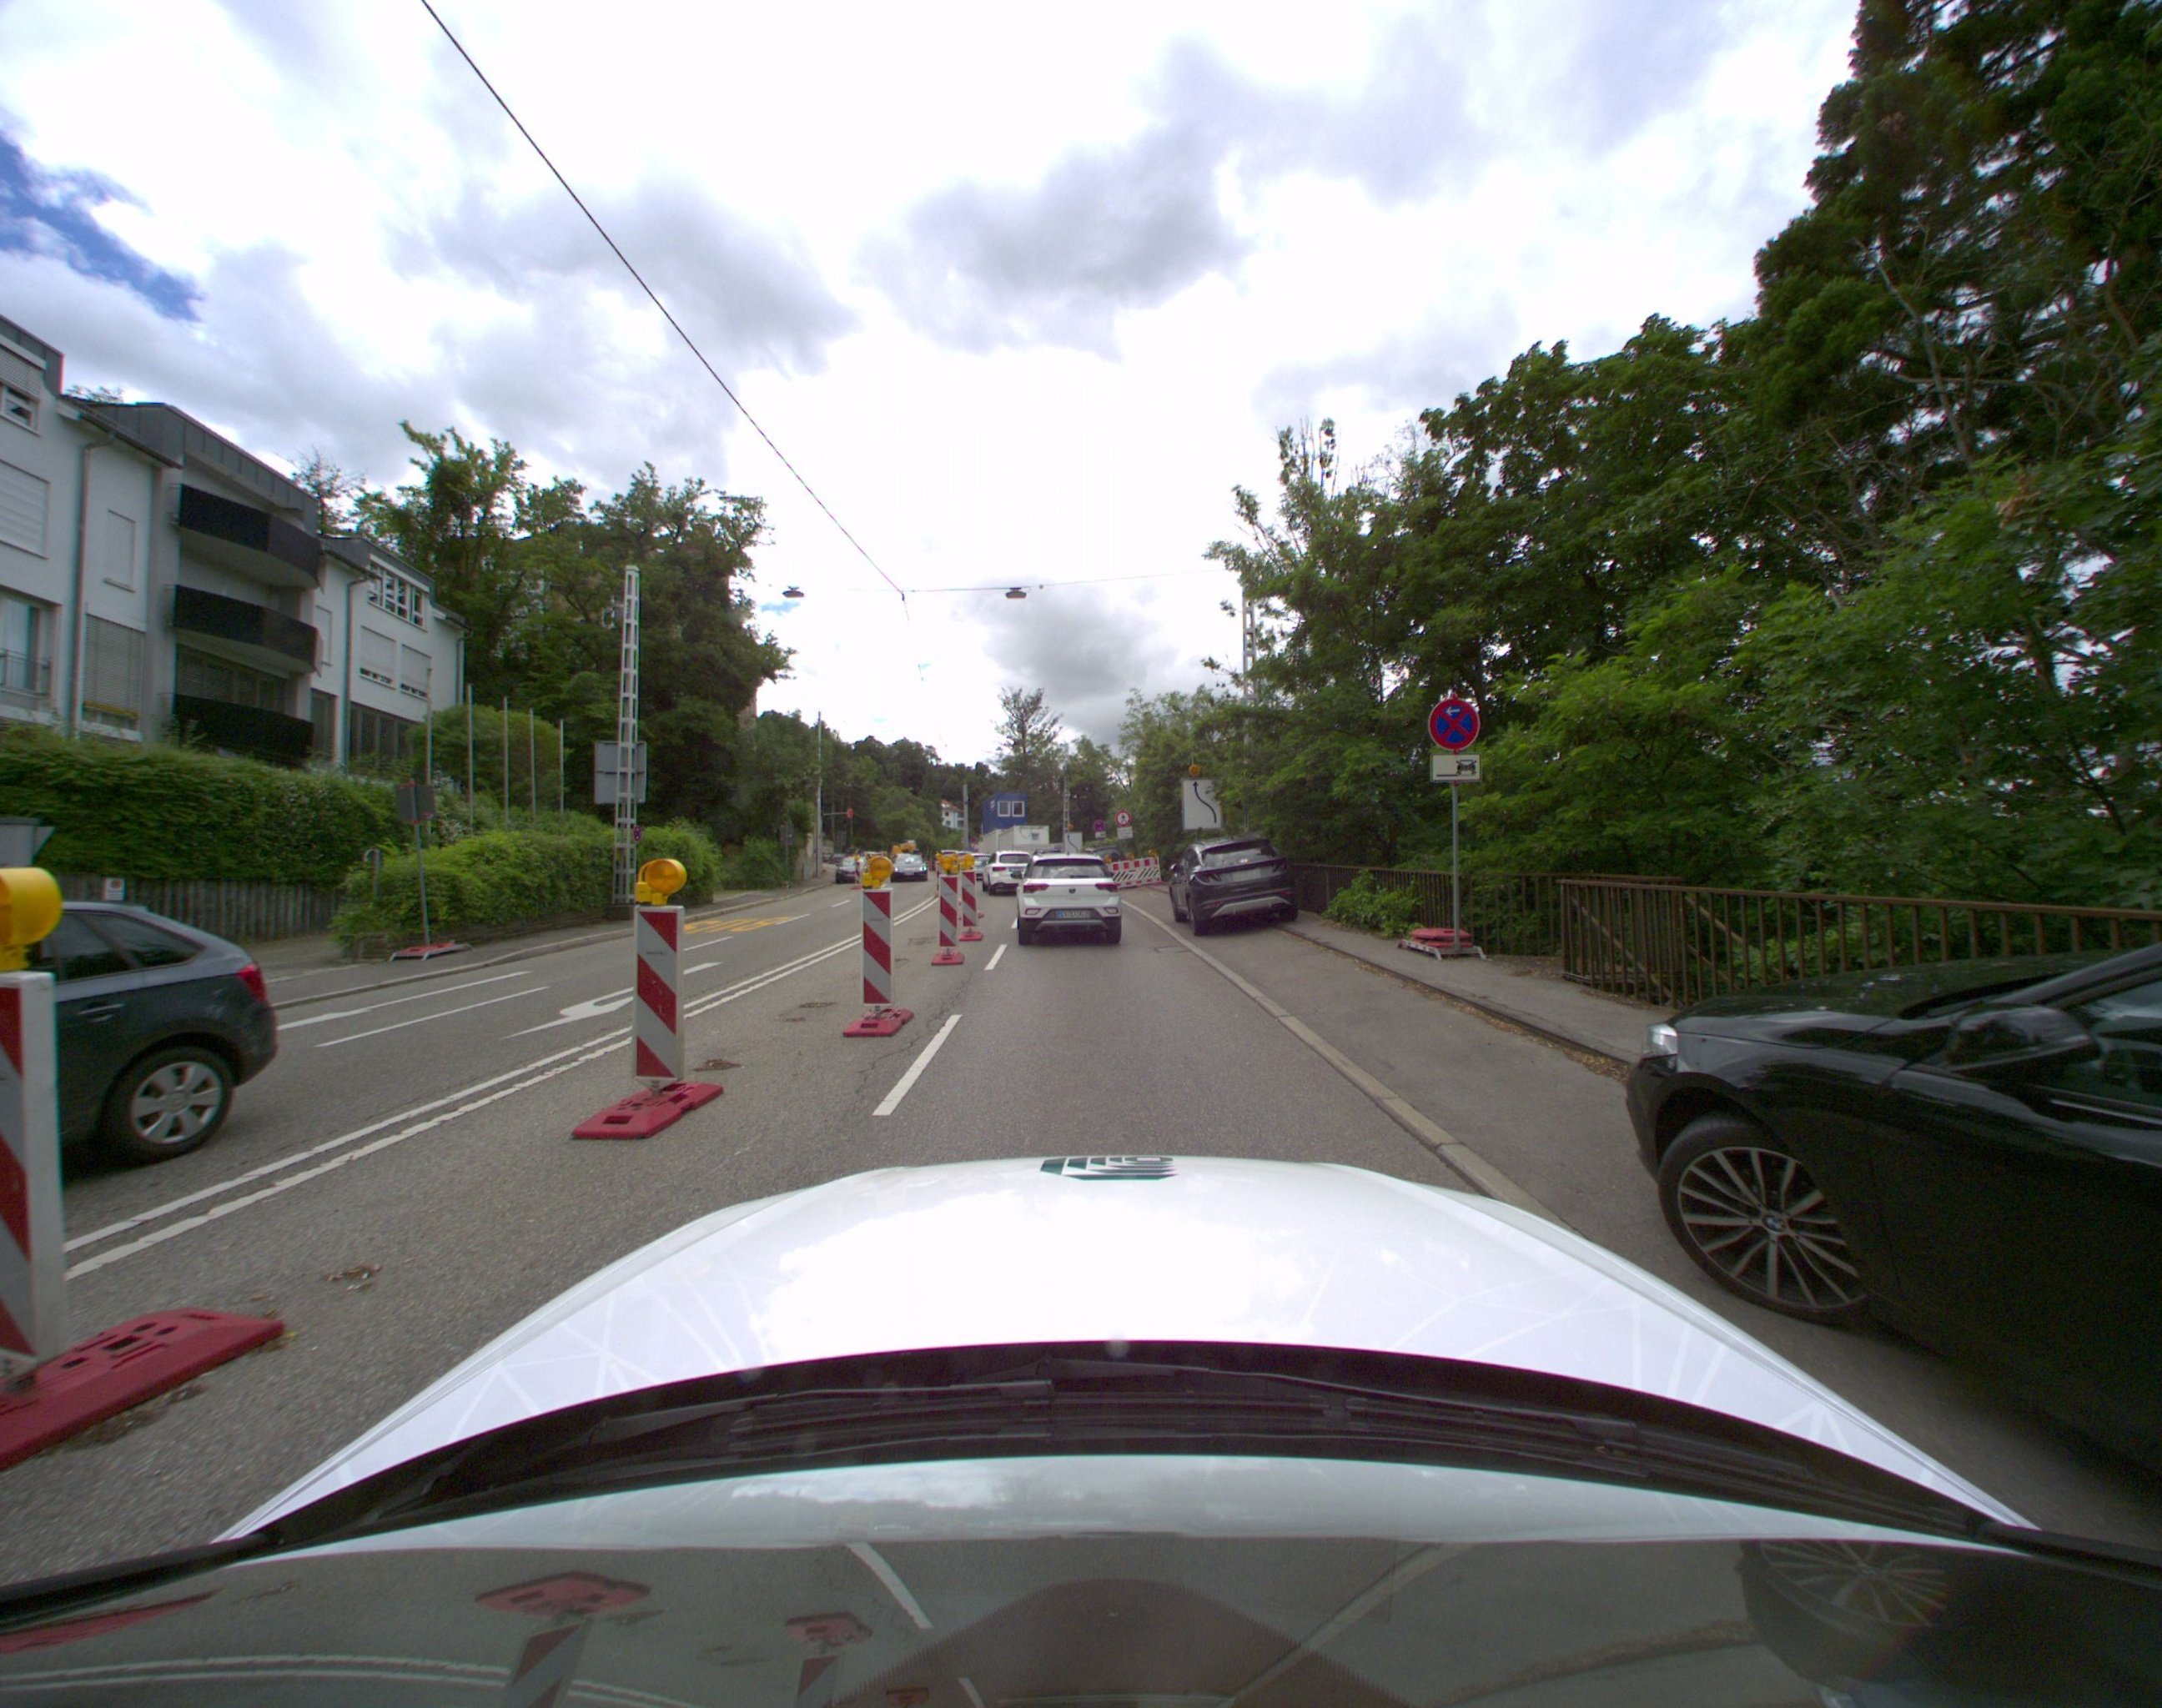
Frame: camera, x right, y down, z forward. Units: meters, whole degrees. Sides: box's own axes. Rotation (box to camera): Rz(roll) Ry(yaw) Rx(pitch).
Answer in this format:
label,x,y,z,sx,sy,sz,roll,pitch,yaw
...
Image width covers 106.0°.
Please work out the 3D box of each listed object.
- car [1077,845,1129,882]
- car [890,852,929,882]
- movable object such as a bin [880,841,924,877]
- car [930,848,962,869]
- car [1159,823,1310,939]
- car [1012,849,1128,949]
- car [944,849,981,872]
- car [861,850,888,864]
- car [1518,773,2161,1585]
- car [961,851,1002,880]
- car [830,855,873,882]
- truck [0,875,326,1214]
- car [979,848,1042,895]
label,x,y,z,sx,sy,sz,roll,pitch,yaw
car,0.989,0.416,37.816,1.715,1.518,3.649,-4,0,-8
car,-9.280,0.662,44.285,1.896,1.494,3.985,-2,0,-11
movable object such as a bin,-20.188,0.580,91.474,3.546,3.699,7.439,-2,0,-22
car,-10.784,0.354,64.825,1.999,1.556,4.126,-2,1,-17
car,2.763,0.440,15.643,1.844,1.657,4.140,-9,0,-1
car,-0.334,0.717,15.043,1.756,1.555,3.787,-1,0,-7
car,-8.057,0.477,55.112,1.997,1.414,4.129,-3,-1,-15
car,-22.620,0.338,89.064,2.005,1.450,4.114,-2,-1,-27
car,2.885,0.568,1.433,1.802,1.463,4.192,-7,0,-1
car,-5.513,0.616,44.798,1.760,1.471,3.777,-1,0,-14
car,-12.691,0.782,45.278,1.896,1.382,3.985,-2,0,-11
truck,-5.605,0.896,3.088,1.657,1.443,4.026,-2,0,0
car,-2.743,0.623,30.961,1.760,1.609,3.777,-1,0,-14
